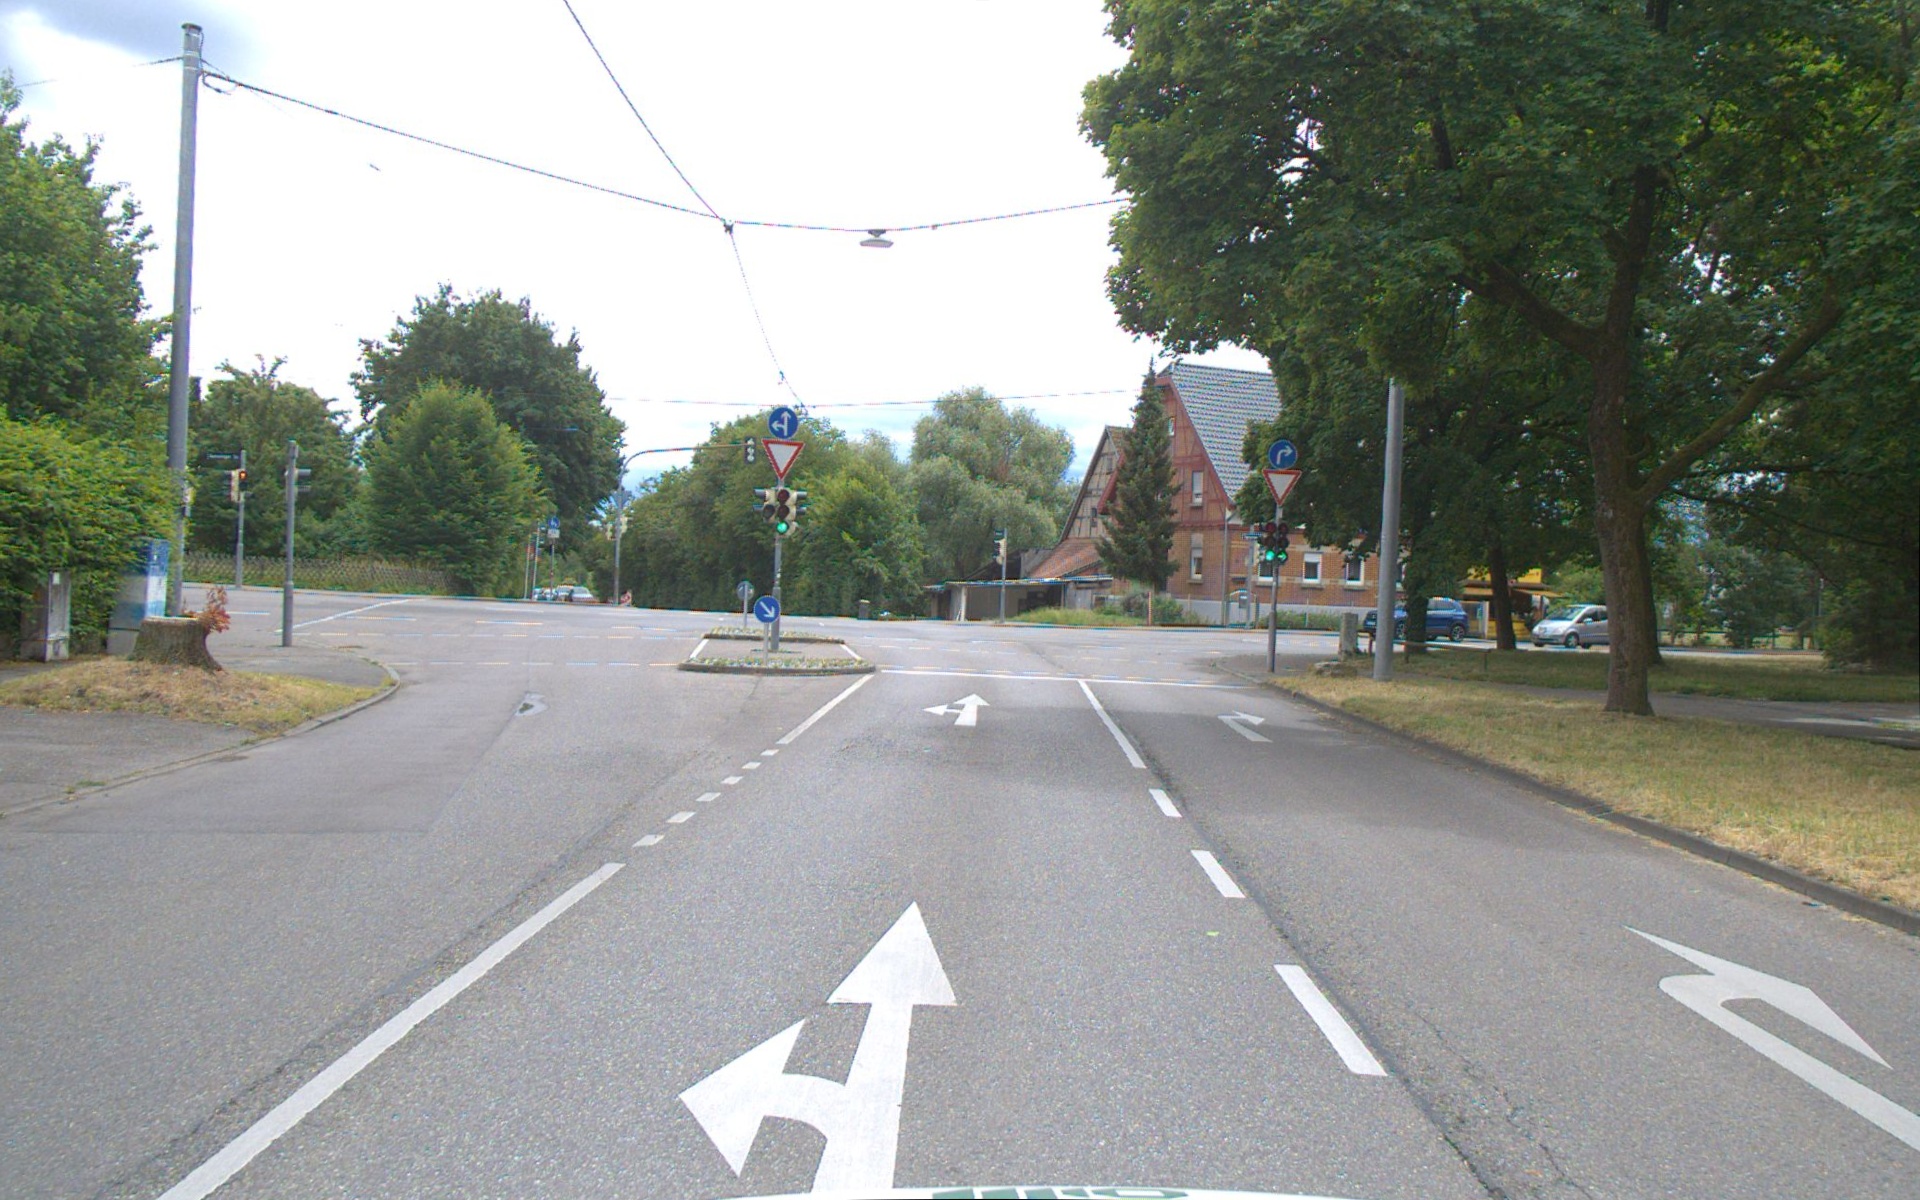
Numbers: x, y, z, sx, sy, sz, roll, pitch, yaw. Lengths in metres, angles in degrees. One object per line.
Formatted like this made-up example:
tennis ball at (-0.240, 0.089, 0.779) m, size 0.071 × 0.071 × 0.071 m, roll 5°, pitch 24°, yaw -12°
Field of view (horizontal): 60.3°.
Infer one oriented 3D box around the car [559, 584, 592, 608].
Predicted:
car at (-24.948, -0.275, 107.257) m, size 1.766 × 1.434 × 3.981 m, roll 2°, pitch 0°, yaw -17°

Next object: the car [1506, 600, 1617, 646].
car at (21.935, 0.838, 60.338) m, size 3.416 × 1.557 × 1.985 m, roll 2°, pitch 0°, yaw -24°

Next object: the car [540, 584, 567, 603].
car at (-31.176, -0.509, 126.722) m, size 1.766 × 1.434 × 3.981 m, roll 2°, pitch 0°, yaw -17°

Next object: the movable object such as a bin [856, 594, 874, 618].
movable object such as a bin at (-4.301, 0.273, 74.615) m, size 0.625 × 1.019 × 0.579 m, roll 3°, pitch -2°, yaw -26°

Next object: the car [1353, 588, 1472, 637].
car at (16.712, 0.471, 61.177) m, size 3.786 × 1.676 × 1.990 m, roll 2°, pitch 0°, yaw -19°

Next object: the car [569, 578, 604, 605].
car at (-22.845, -0.529, 101.036) m, size 1.766 × 1.538 × 3.981 m, roll 2°, pitch 0°, yaw -17°

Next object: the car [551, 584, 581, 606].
car at (-27.372, -0.342, 114.896) m, size 1.766 × 1.434 × 3.981 m, roll 2°, pitch 0°, yaw -17°
